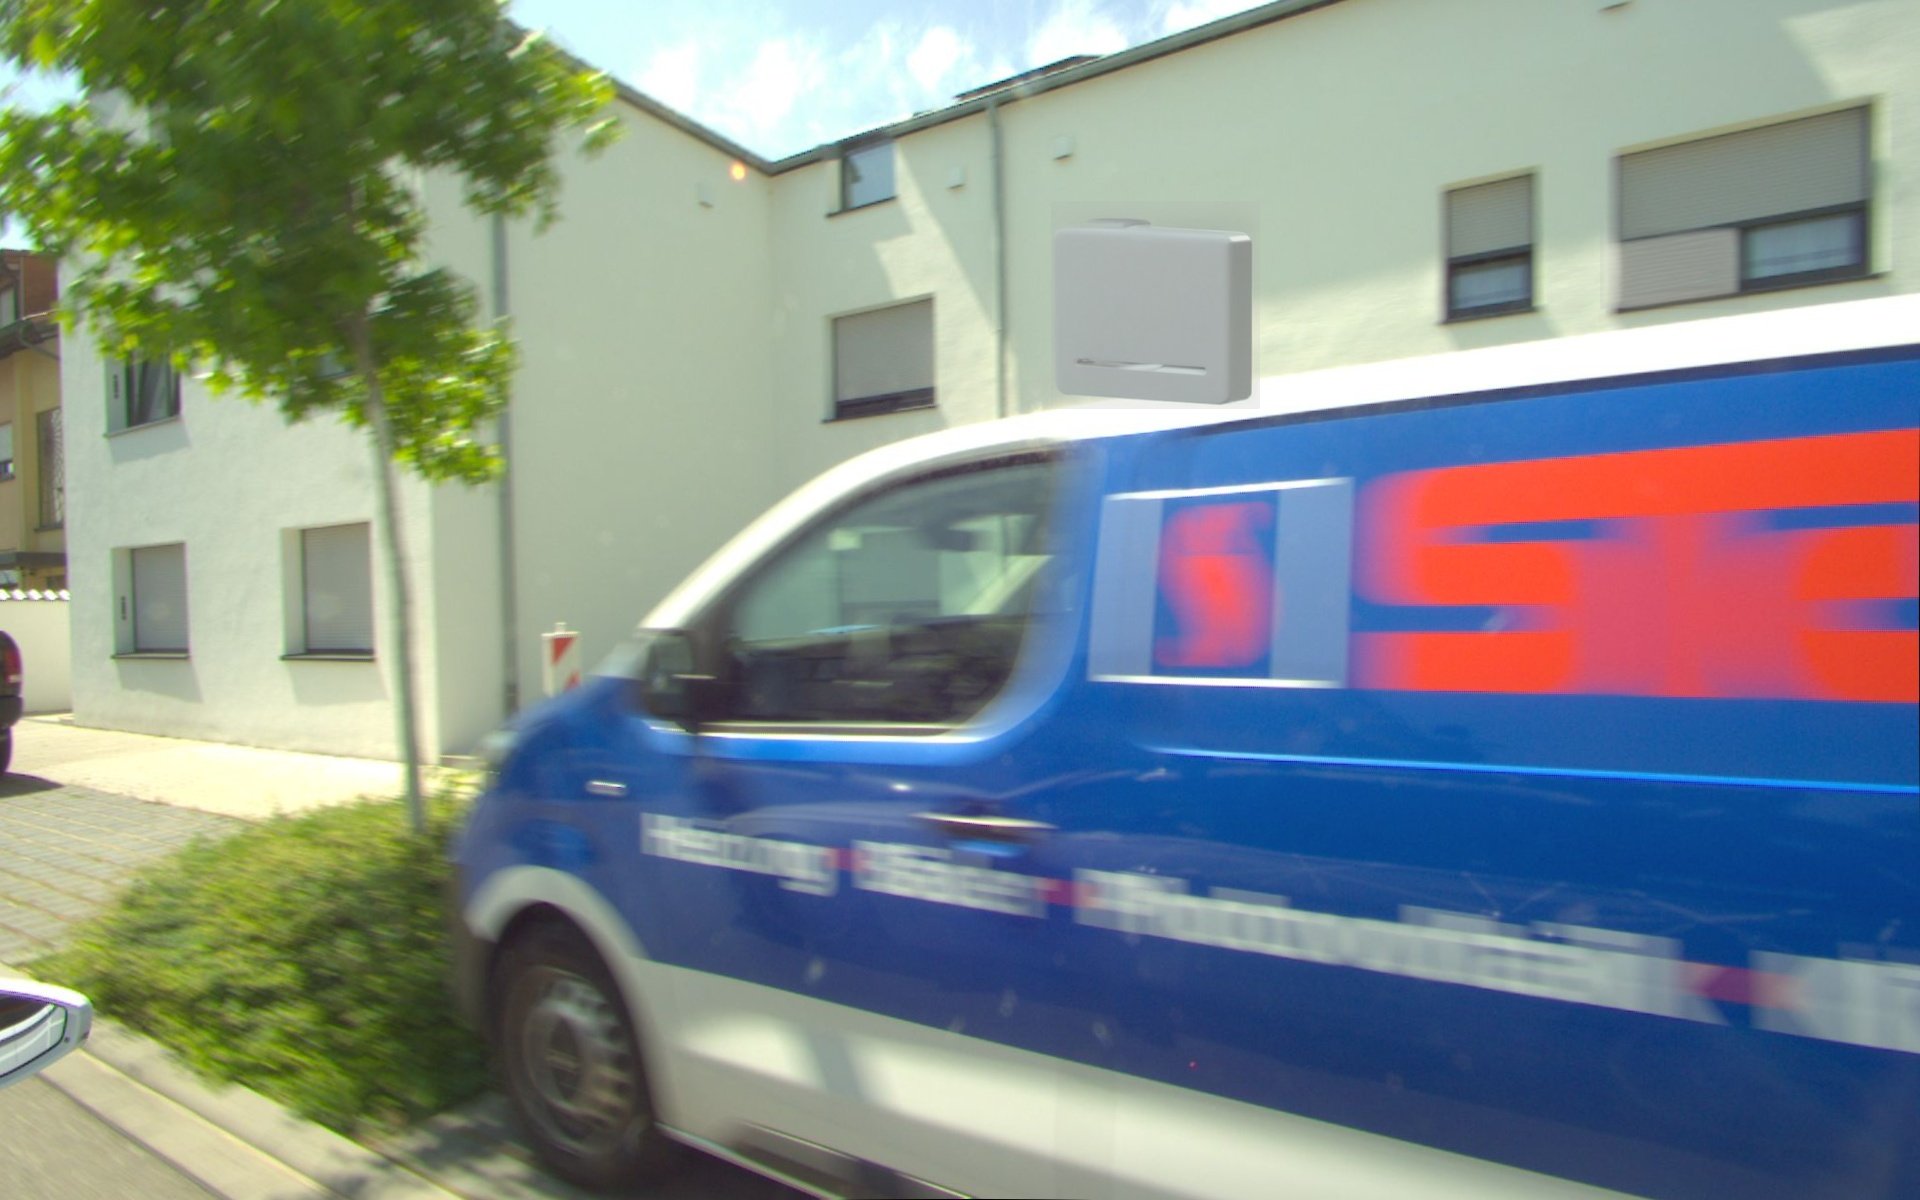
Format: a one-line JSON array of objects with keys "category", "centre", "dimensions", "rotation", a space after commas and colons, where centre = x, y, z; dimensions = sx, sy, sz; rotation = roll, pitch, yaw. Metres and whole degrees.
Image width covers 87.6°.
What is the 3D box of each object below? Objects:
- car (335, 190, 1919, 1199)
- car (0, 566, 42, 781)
[{"category": "car", "centre": [0.708, 0.513, 2.581], "dimensions": [4.775, 1.907, 2.094], "rotation": [-1, 1, 33]}, {"category": "car", "centre": [-11.371, 0.738, 9.942], "dimensions": [5.140, 1.973, 1.988], "rotation": [-1, 2, 32]}]
